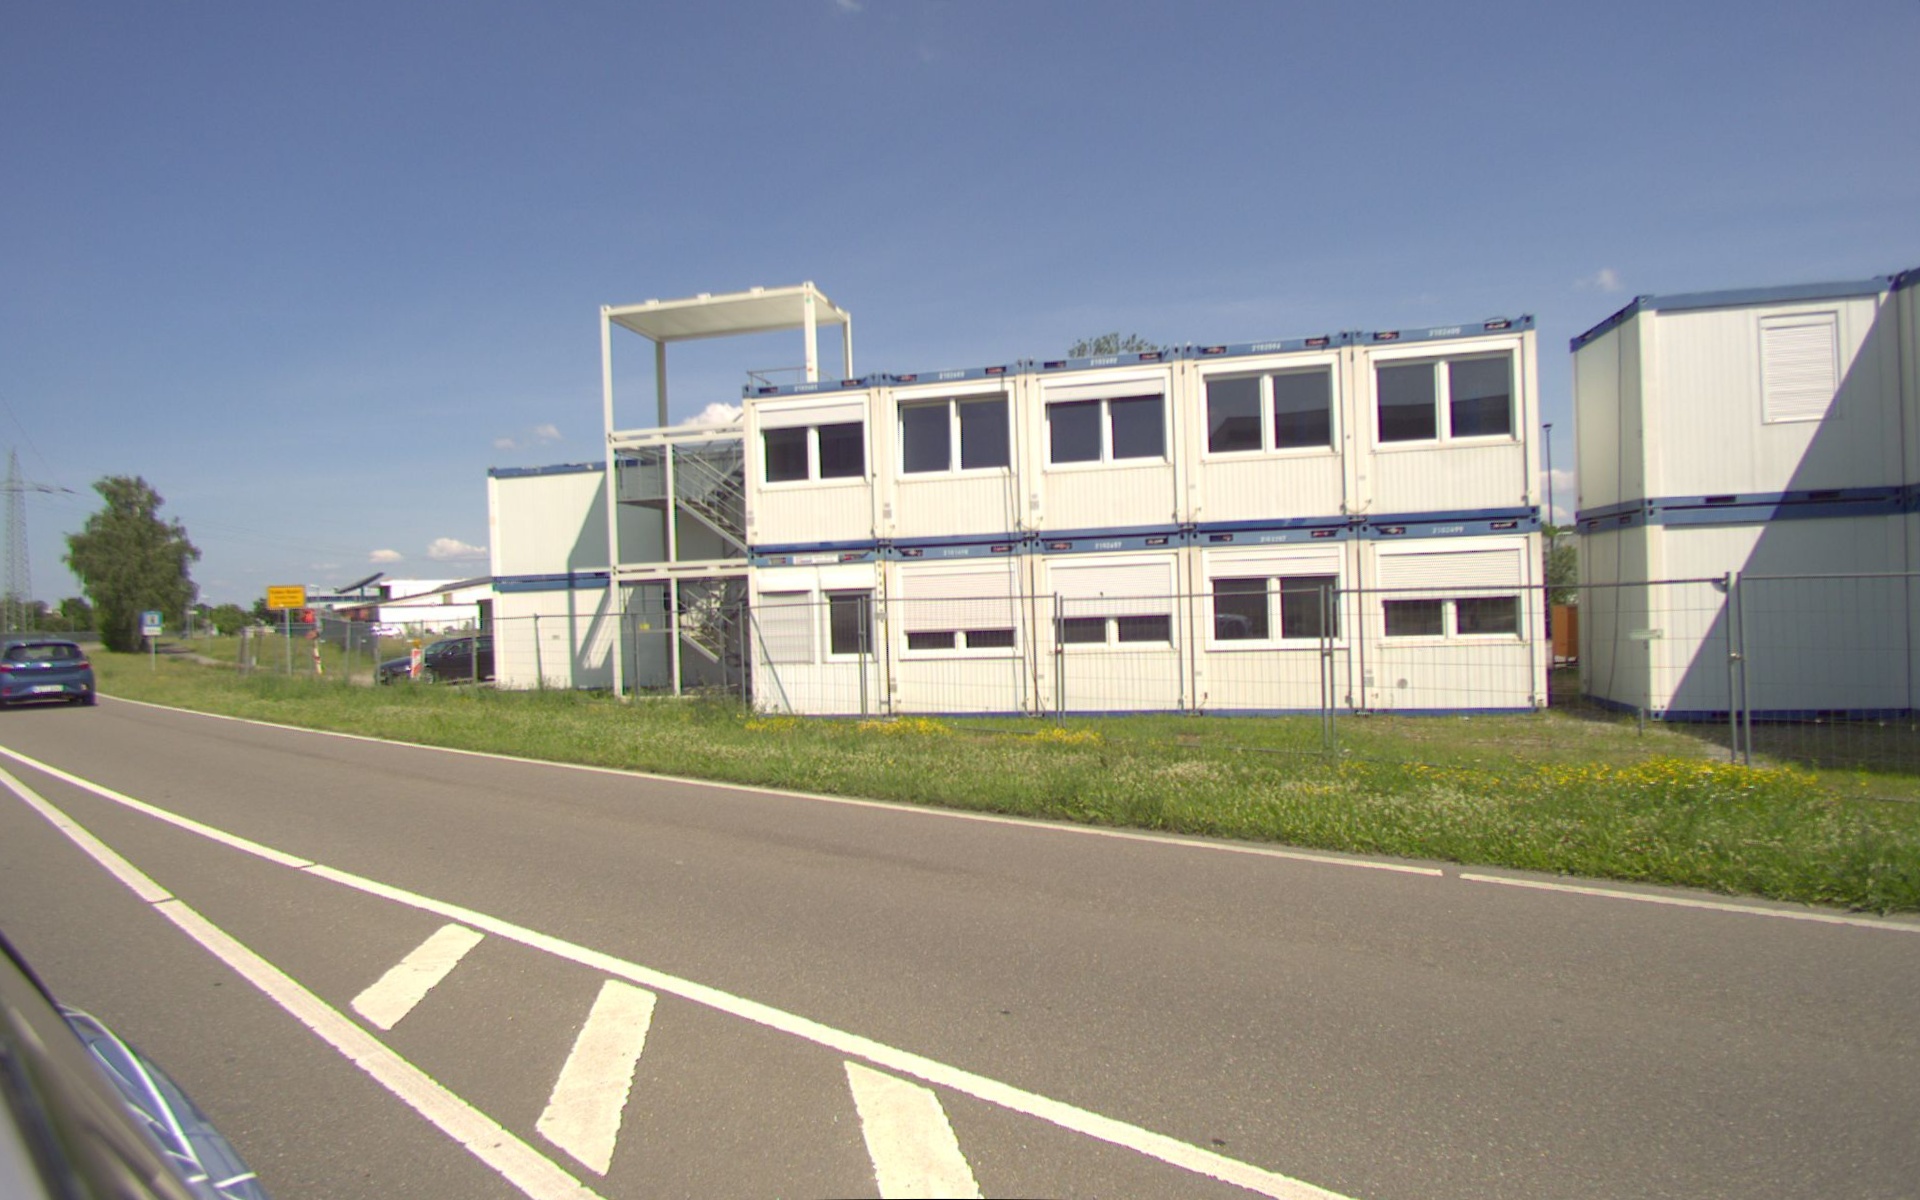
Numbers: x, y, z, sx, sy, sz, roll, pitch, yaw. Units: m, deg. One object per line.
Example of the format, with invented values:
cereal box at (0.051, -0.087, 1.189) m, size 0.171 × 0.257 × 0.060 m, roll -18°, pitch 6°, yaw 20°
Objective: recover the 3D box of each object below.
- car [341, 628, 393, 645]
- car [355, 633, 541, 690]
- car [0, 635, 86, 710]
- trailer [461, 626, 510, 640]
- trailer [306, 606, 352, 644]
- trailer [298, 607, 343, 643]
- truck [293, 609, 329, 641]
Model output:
car at (-54.454, 3.358, 92.958) m, size 3.934 × 1.353 × 1.751 m, roll -2°, pitch 0°, yaw -36°
car at (-16.078, 1.898, 32.038) m, size 1.993 × 1.428 × 4.931 m, roll -3°, pitch -1°, yaw 32°
car at (-20.870, 1.560, 22.610) m, size 4.001 × 1.493 × 1.684 m, roll -2°, pitch -1°, yaw 44°
trailer at (-45.289, 3.137, 96.696) m, size 3.935 × 1.175 × 1.908 m, roll -1°, pitch -1°, yaw -37°
trailer at (-64.779, 2.544, 103.858) m, size 3.354 × 3.672 × 8.678 m, roll 0°, pitch -1°, yaw -36°
trailer at (-71.756, 2.779, 113.373) m, size 3.247 × 3.672 × 14.959 m, roll 0°, pitch -1°, yaw -36°
truck at (-79.331, 3.033, 123.653) m, size 3.060 × 3.672 × 10.618 m, roll 0°, pitch -1°, yaw -36°
